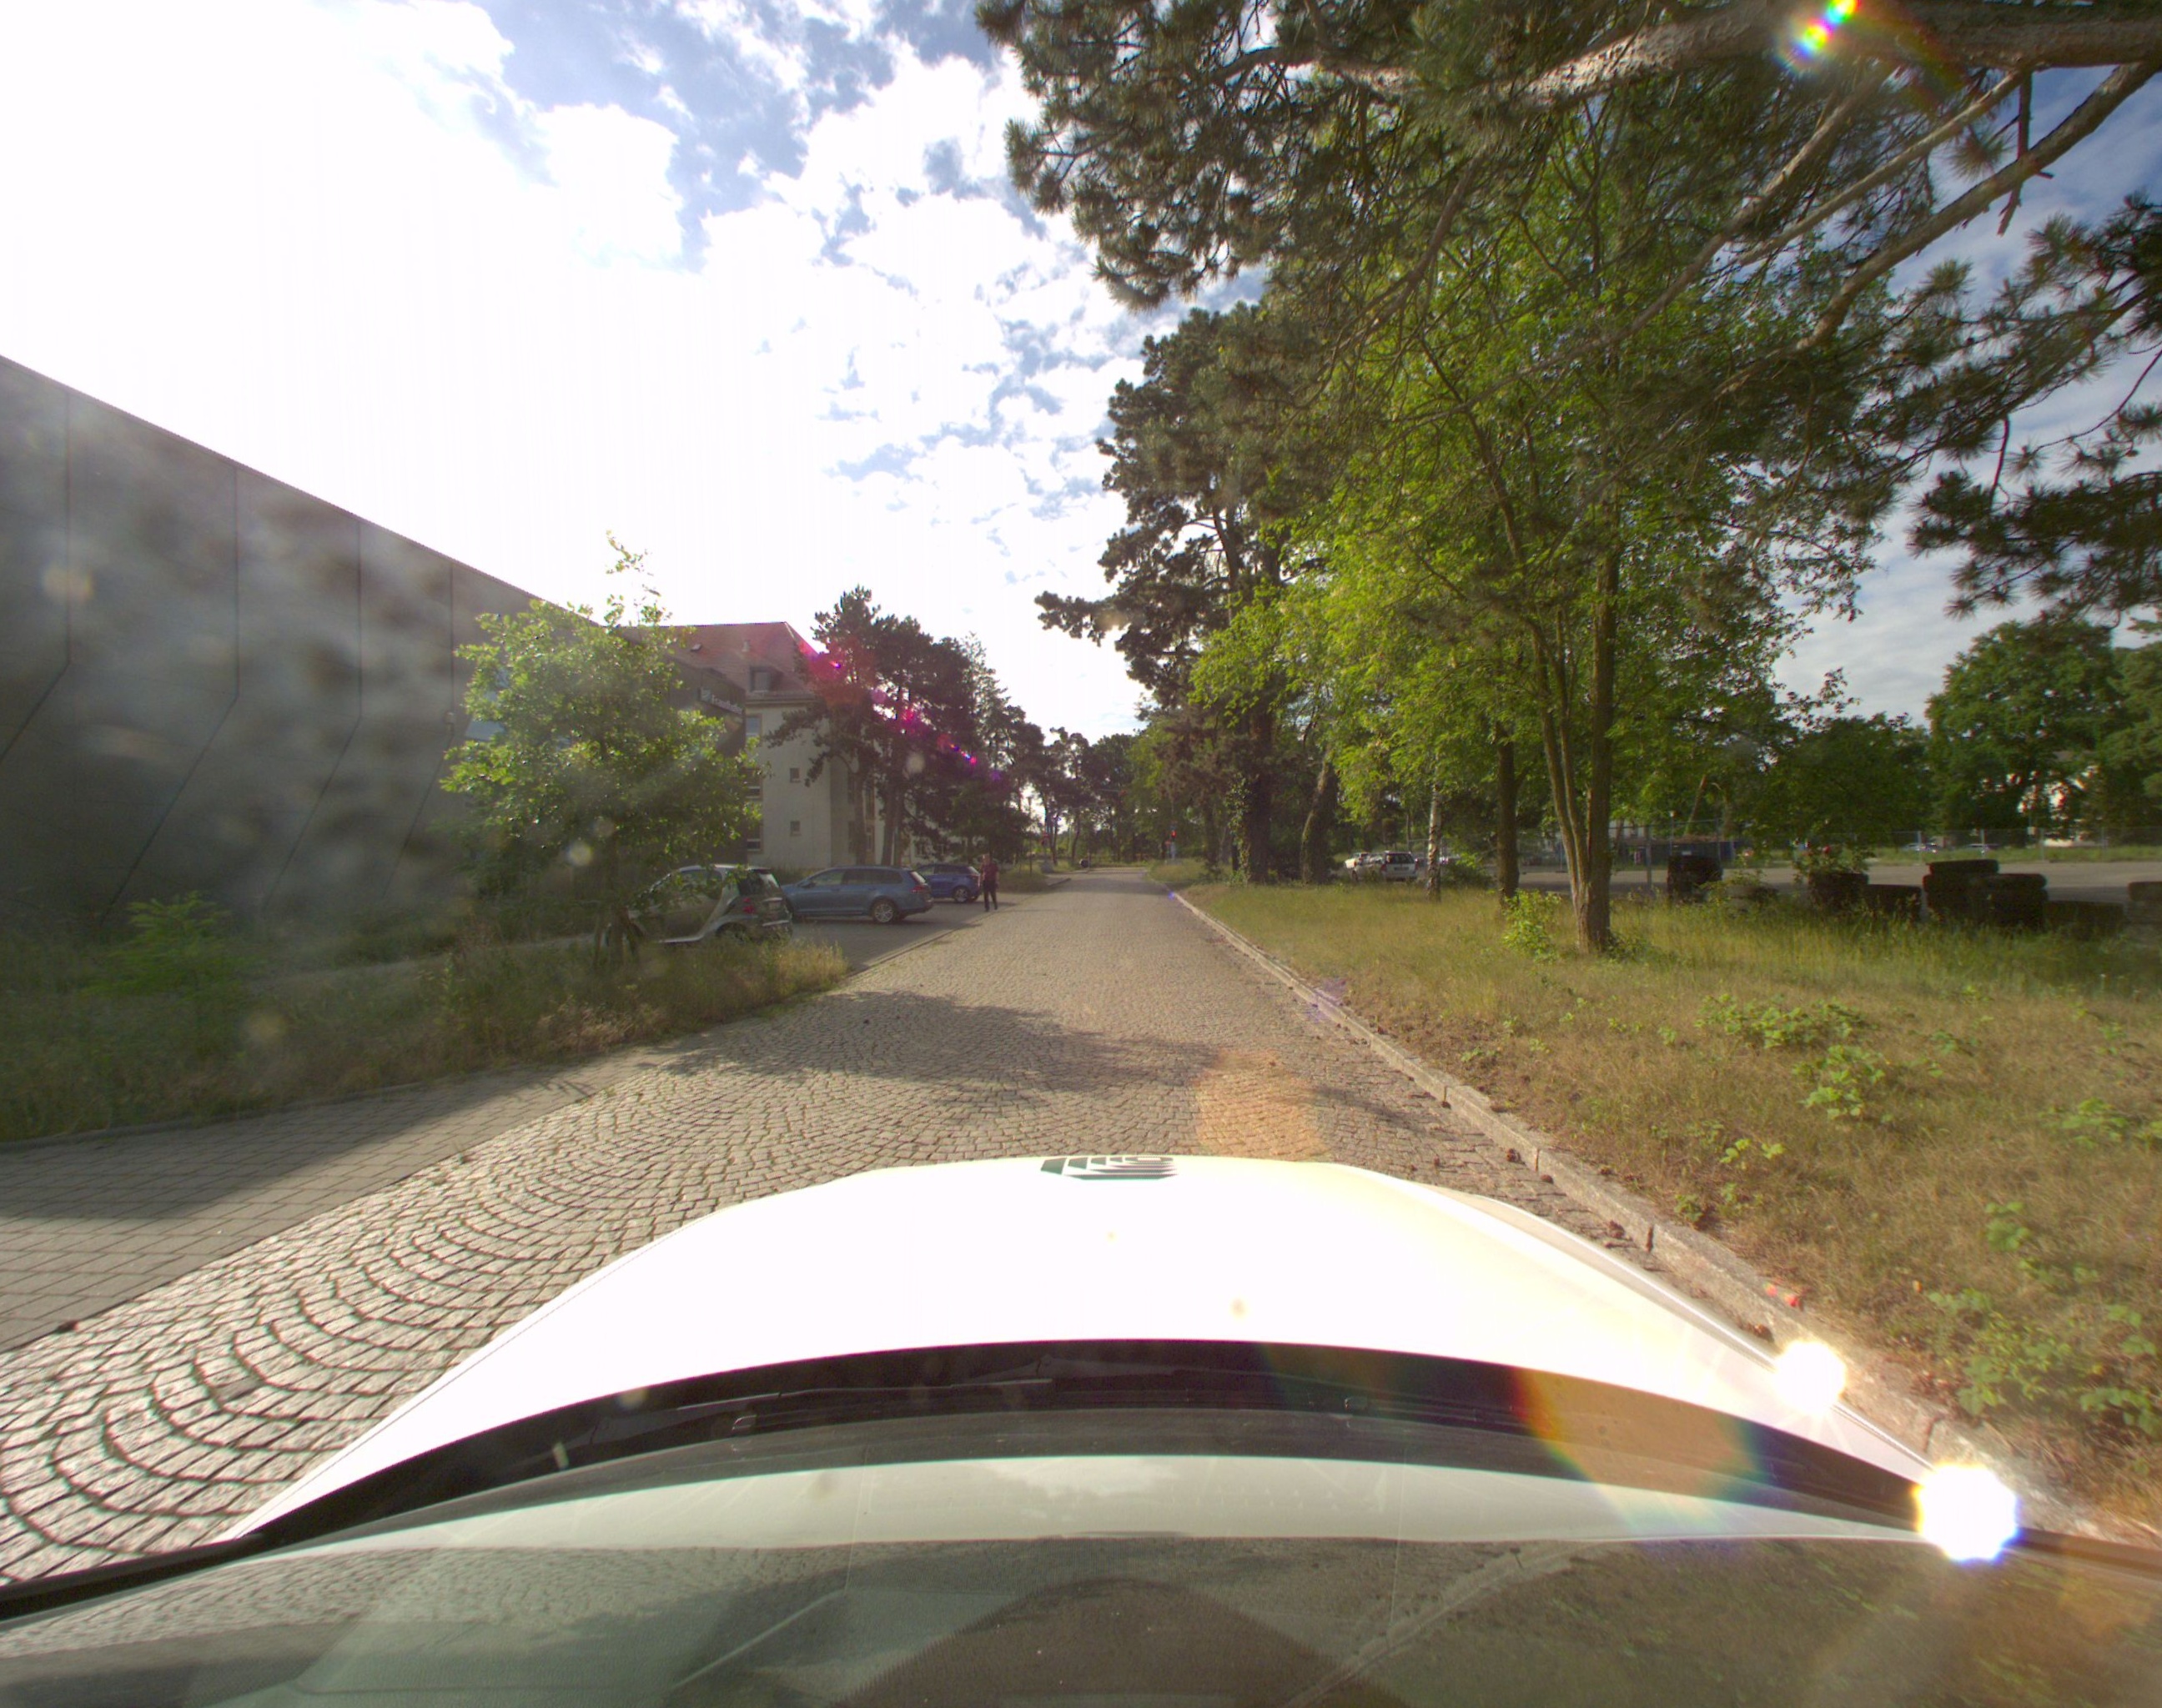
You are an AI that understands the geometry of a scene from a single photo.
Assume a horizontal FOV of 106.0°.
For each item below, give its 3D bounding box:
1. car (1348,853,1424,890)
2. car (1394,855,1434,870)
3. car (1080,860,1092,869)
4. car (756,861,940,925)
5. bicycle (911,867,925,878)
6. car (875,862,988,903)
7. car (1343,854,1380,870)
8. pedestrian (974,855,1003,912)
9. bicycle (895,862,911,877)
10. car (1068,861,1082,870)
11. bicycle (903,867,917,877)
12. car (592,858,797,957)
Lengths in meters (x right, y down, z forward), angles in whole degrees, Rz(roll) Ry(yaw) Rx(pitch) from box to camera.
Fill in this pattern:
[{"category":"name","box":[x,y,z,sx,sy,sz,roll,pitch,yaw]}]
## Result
[{"category":"car","box":[12.965,0.730,34.851,1.662,1.468,3.998,-1,-1,-1]},{"category":"car","box":[29.577,0.762,72.461,1.726,1.312,4.330,-1,-1,-1]},{"category":"car","box":[0.866,1.738,136.821,1.839,1.486,4.000,-1,-1,0]},{"category":"car","box":[-5.949,0.977,21.112,4.243,1.464,1.681,1,1,0]},{"category":"bicycle","box":[-16.231,1.792,81.047,0.822,1.047,2.125,-1,-1,3]},{"category":"car","box":[-5.573,1.048,30.694,3.818,1.464,1.722,1,-1,4]},{"category":"car","box":[24.756,0.701,72.101,1.726,1.312,4.330,-1,0,-1]},{"category":"pedestrian","box":[-2.944,0.929,25.957,0.802,1.772,1.152,-1,-1,-1]},{"category":"bicycle","box":[-17.787,1.574,81.404,0.822,1.437,2.555,-1,-1,3]},{"category":"car","box":[-1.048,1.958,141.630,1.772,1.490,3.765,-1,-1,10]},{"category":"bicycle","box":[-17.013,1.785,81.032,0.822,1.047,2.125,-1,-1,3]},{"category":"car","box":[-6.449,0.858,13.798,2.688,1.542,1.519,1,-1,1]}]
